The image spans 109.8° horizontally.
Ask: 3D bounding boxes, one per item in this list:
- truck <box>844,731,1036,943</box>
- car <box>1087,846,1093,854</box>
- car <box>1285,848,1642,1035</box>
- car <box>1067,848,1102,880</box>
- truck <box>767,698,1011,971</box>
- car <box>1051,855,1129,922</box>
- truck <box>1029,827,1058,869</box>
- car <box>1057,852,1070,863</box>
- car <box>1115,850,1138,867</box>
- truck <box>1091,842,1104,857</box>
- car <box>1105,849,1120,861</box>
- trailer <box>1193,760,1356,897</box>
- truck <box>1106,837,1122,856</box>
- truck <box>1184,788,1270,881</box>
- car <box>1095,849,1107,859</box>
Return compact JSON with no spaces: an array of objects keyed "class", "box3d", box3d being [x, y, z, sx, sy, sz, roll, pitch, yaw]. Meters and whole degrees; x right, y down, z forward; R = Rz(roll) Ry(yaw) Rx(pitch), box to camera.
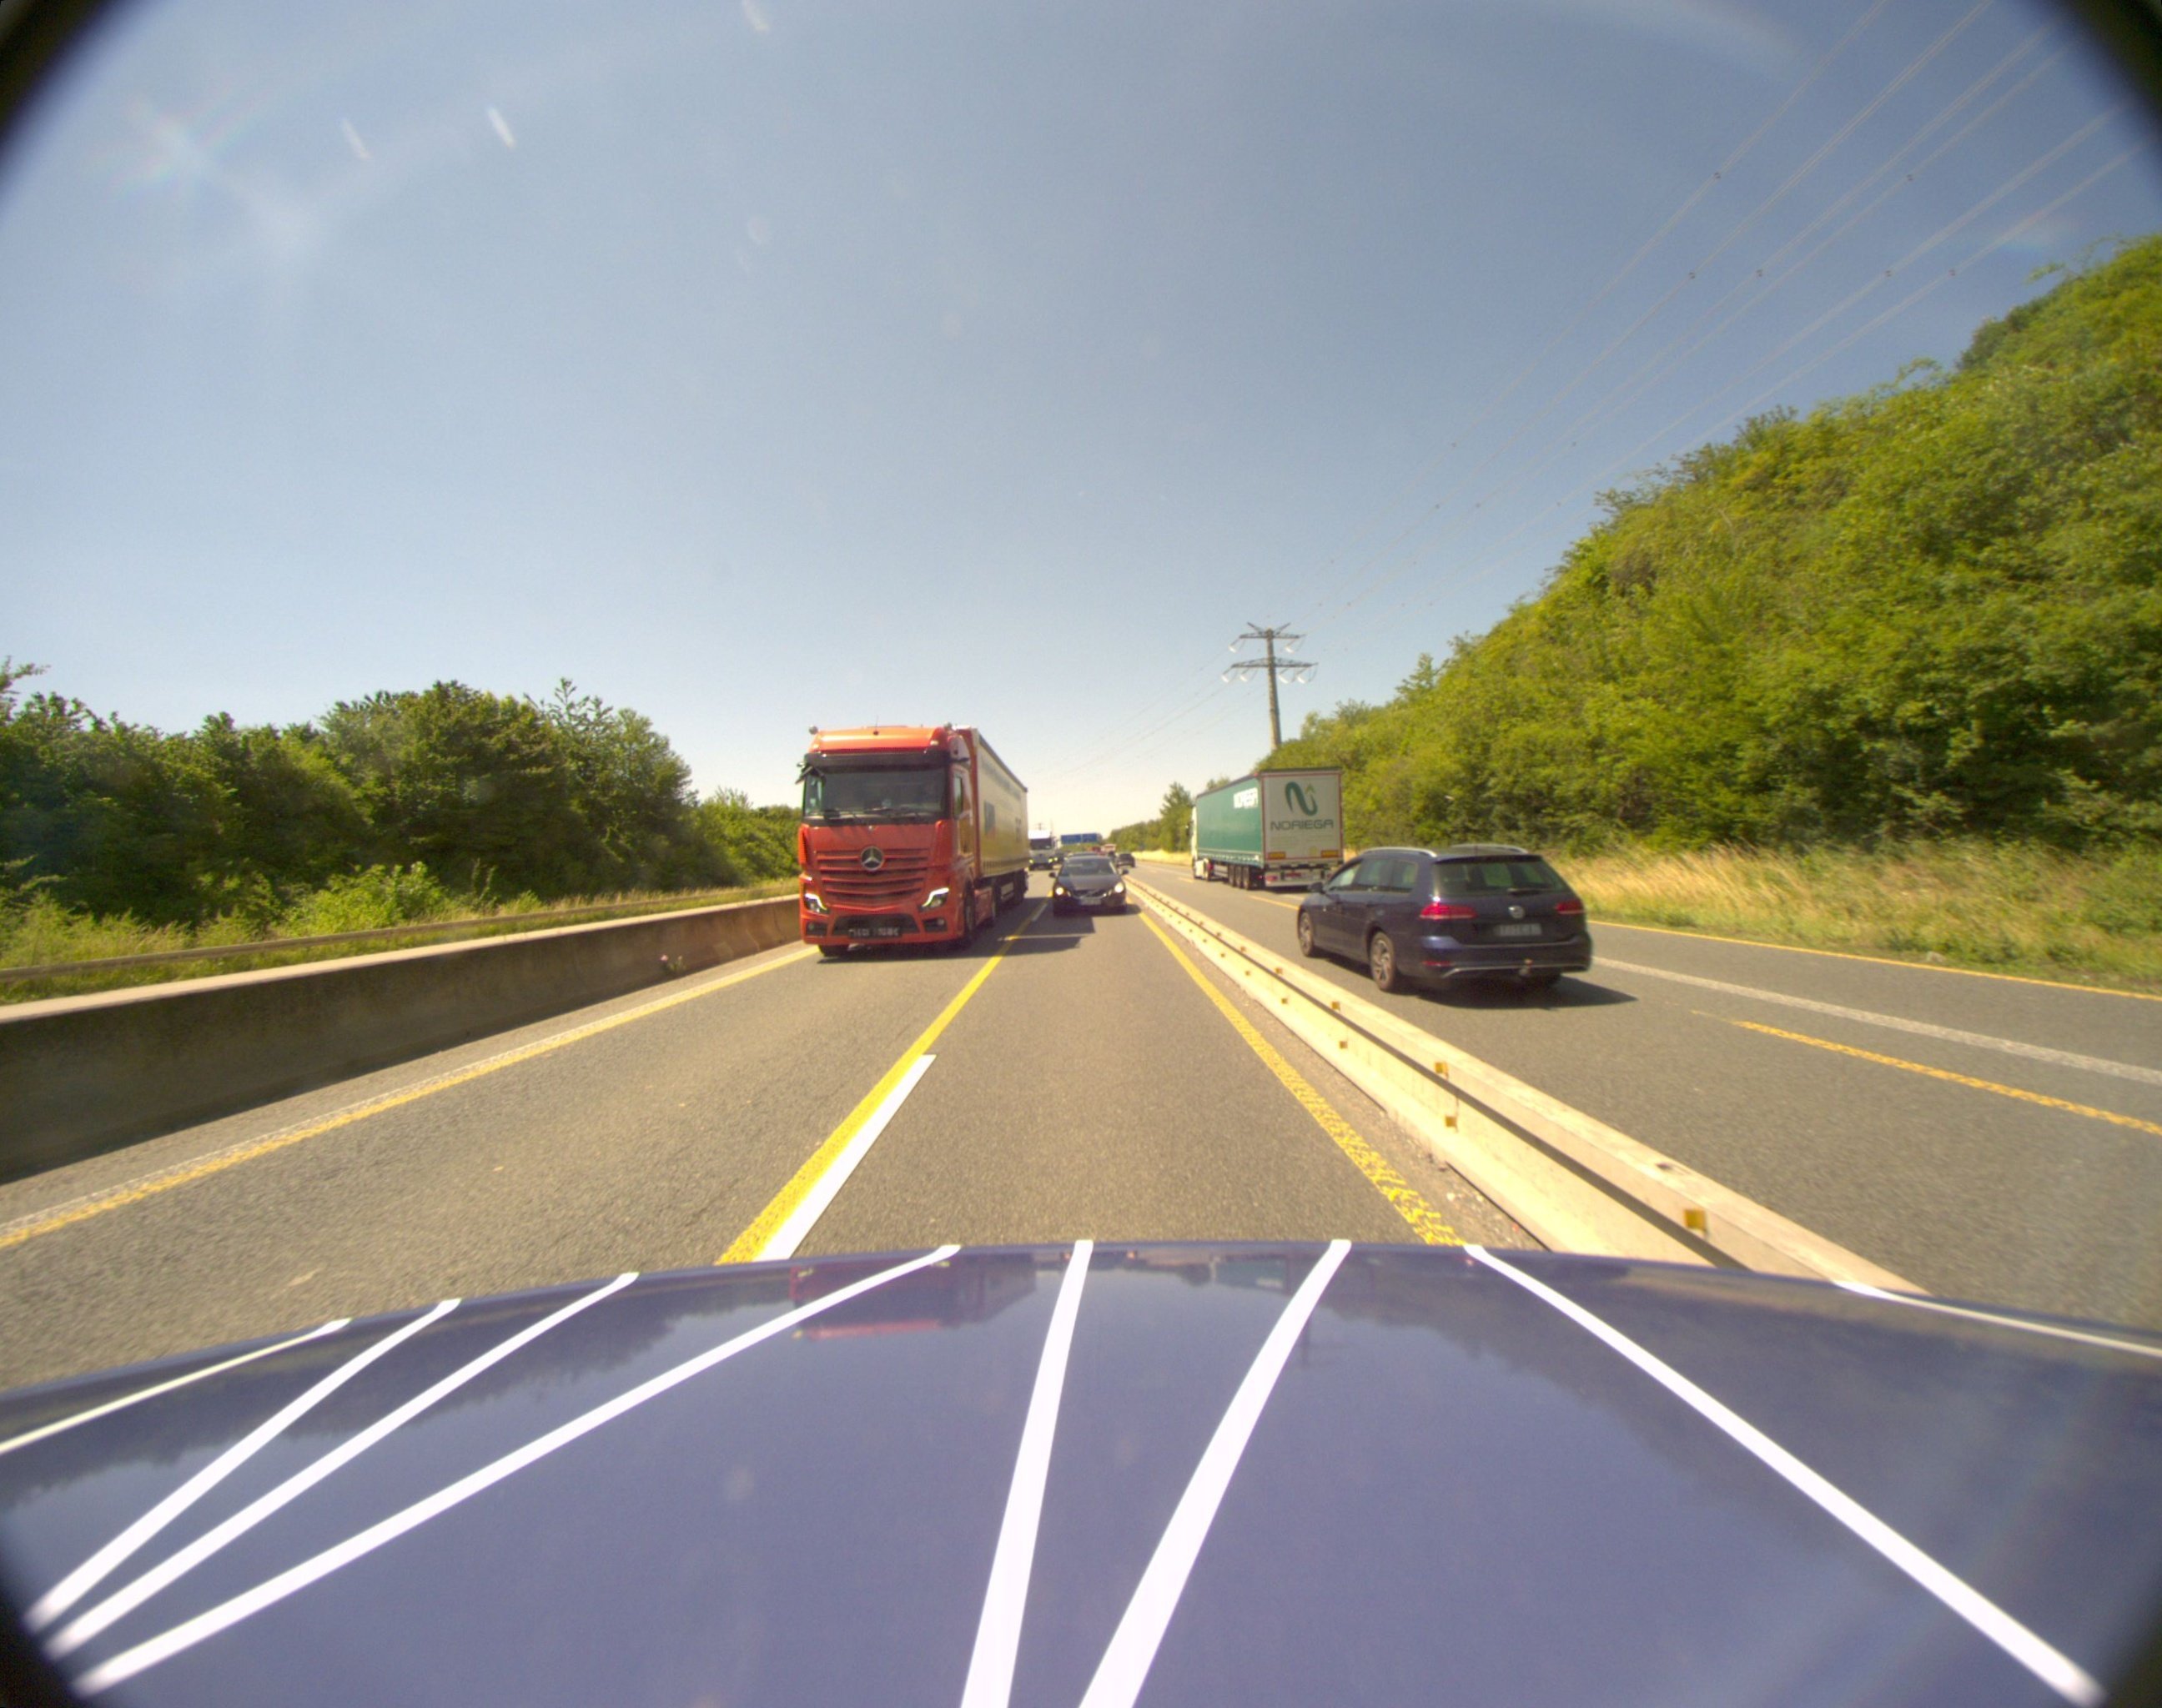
[{"class":"truck","box3d":[-3.113,-0.418,21.298,2.689,3.987,13.216,-2,1,0]},{"class":"car","box3d":[2.607,-1.167,223.129,1.855,2.044,4.348,-2,1,0]},{"class":"car","box3d":[3.818,0.718,8.593,1.765,1.481,4.401,-2,1,0]},{"class":"car","box3d":[0.210,0.506,41.279,1.767,1.523,4.698,-2,1,1]},{"class":"truck","box3d":[-3.194,-0.331,14.763,2.689,3.987,6.725,-2,1,2]},{"class":"car","box3d":[0.243,0.816,20.261,1.767,1.411,4.698,-2,1,1]},{"class":"truck","box3d":[-3.865,-0.664,80.955,2.481,4.030,13.108,-2,0,-1]},{"class":"car","box3d":[-2.581,0.462,110.685,1.767,1.523,4.697,-2,1,-1]},{"class":"car","box3d":[4.340,0.416,73.458,1.904,1.496,4.275,-2,1,0]},{"class":"truck","box3d":[4.366,-1.278,203.457,2.810,3.754,11.377,-4,1,0]},{"class":"car","box3d":[4.420,0.113,107.550,1.904,1.507,4.275,-2,1,1]},{"class":"trailer","box3d":[6.949,-0.825,30.009,2.899,4.101,13.242,-3,0,0]},{"class":"truck","box3d":[6.945,-1.644,162.370,2.943,3.754,11.378,-4,1,1]},{"class":"truck","box3d":[6.974,-0.877,37.172,2.902,4.094,6.019,-2,1,0]},{"class":"car","box3d":[3.476,0.023,133.779,1.904,1.580,4.275,-2,1,1]}]
